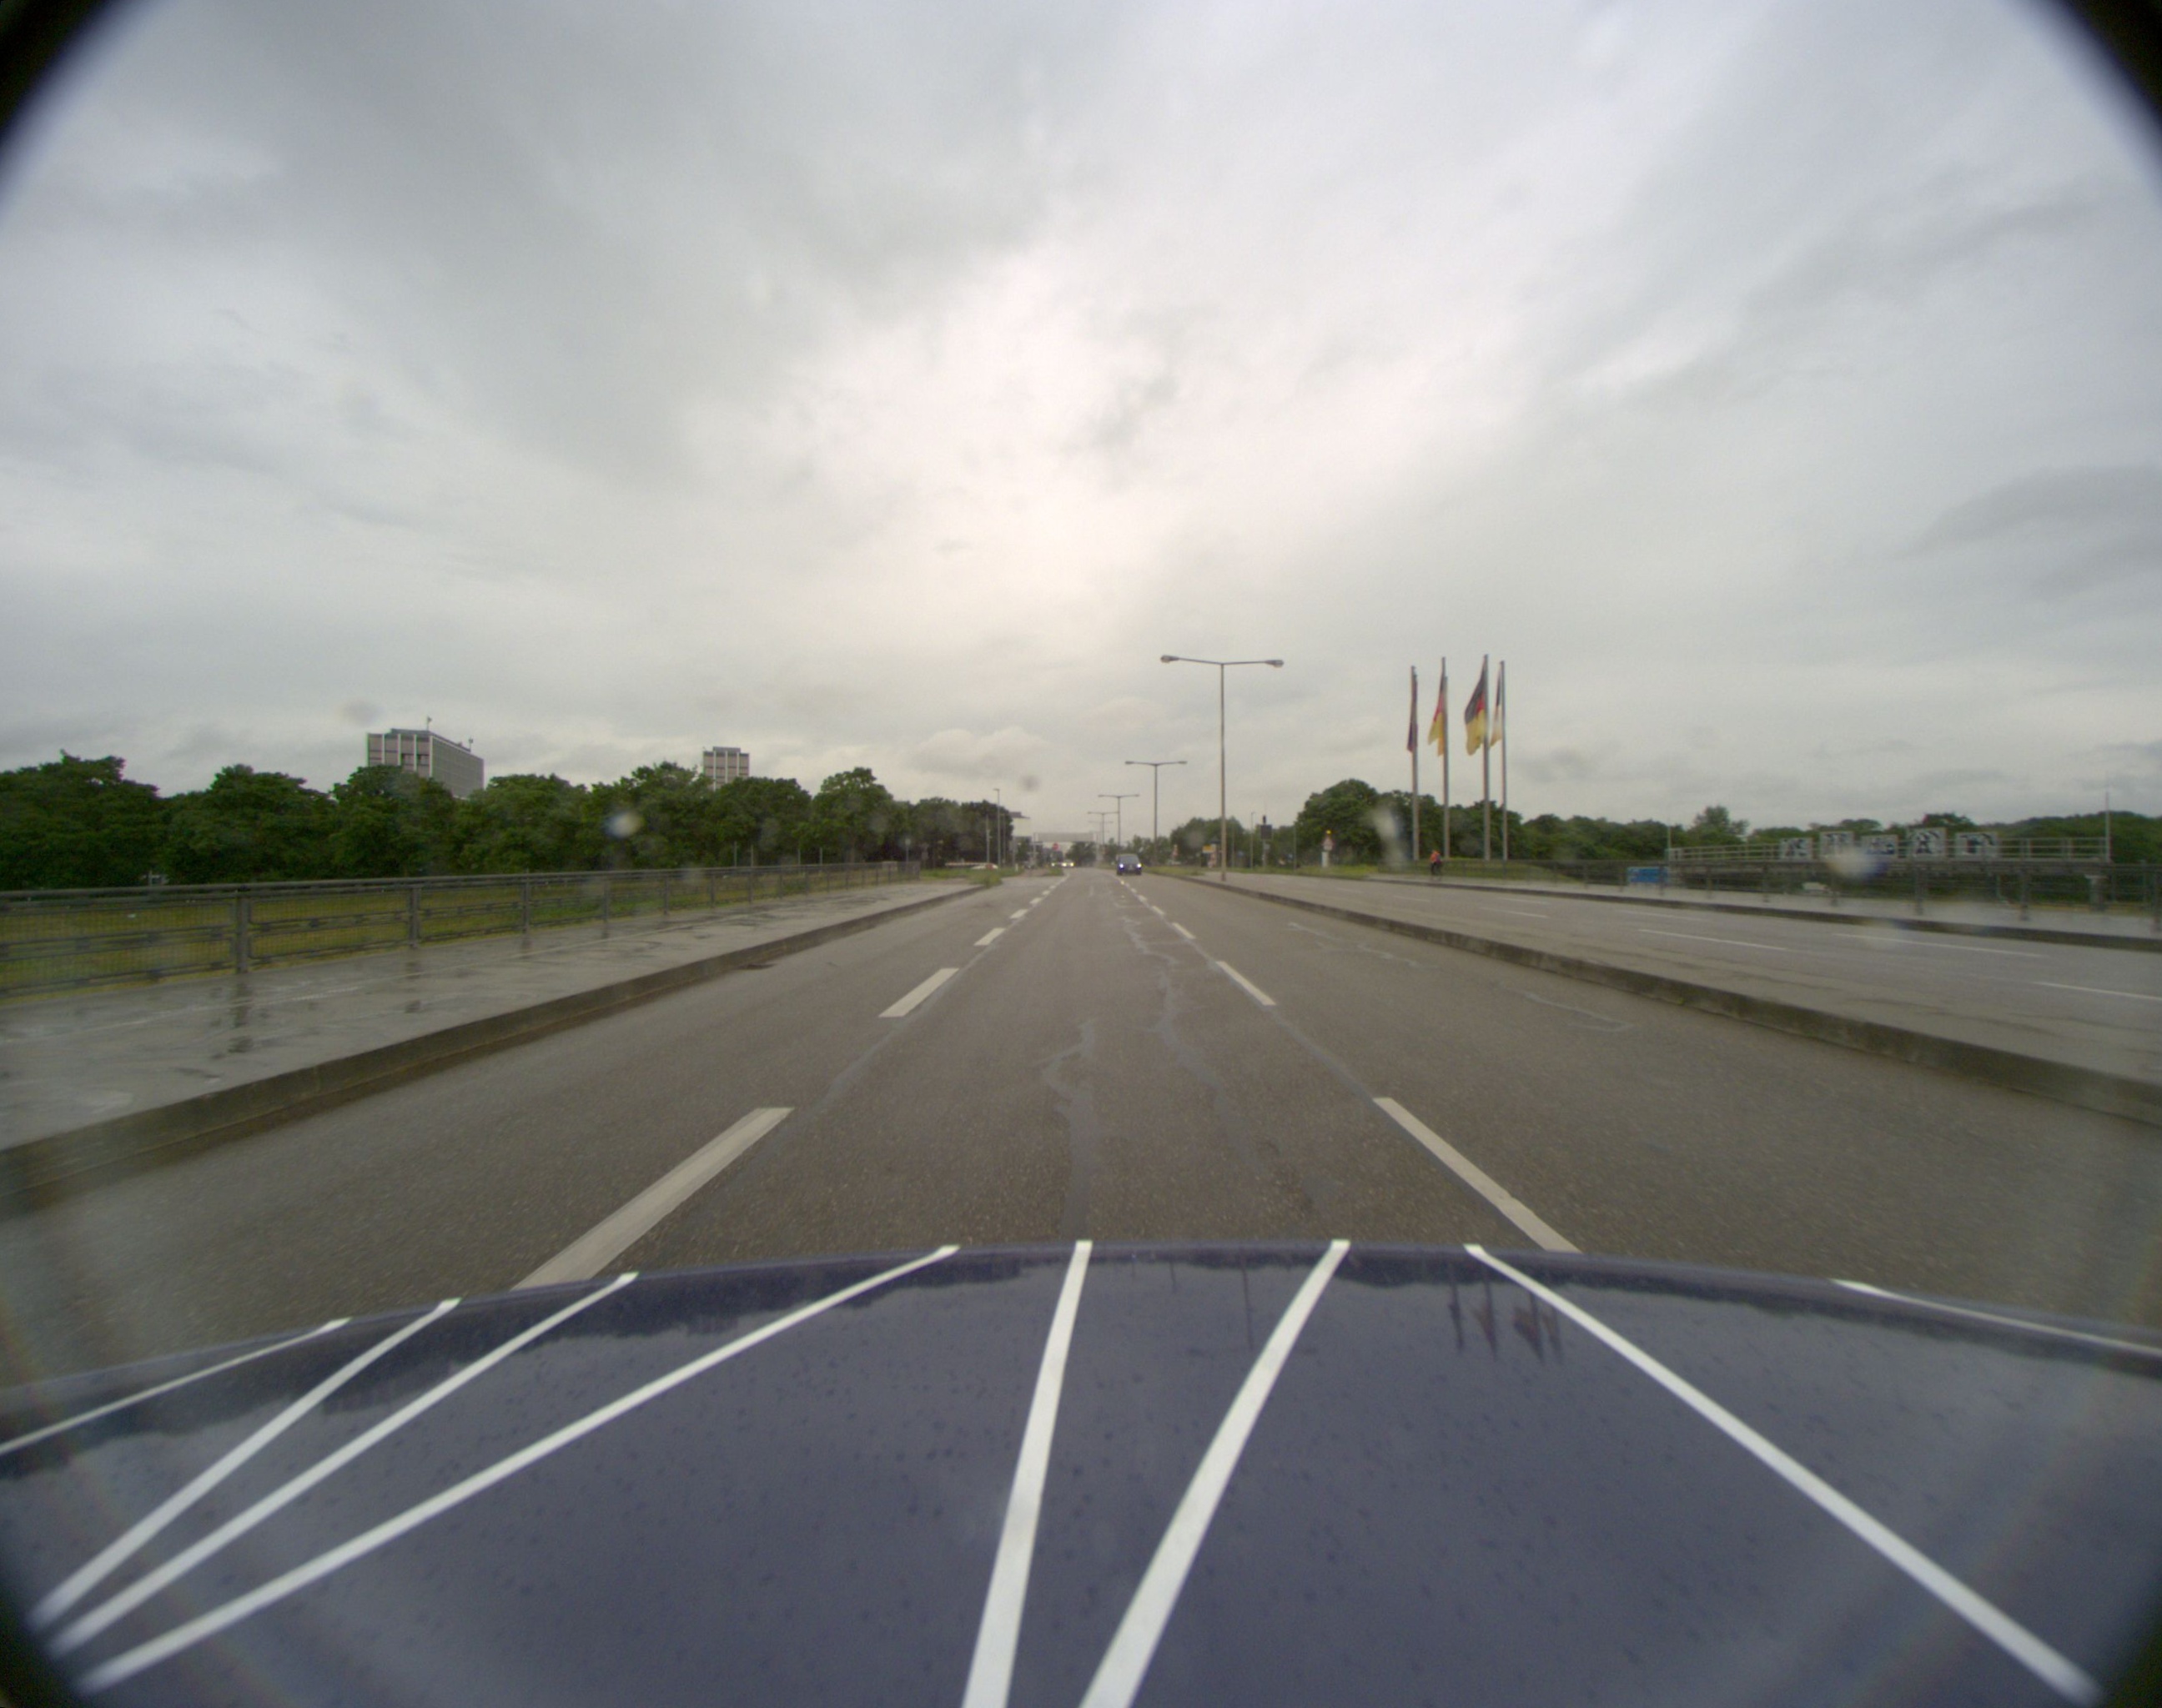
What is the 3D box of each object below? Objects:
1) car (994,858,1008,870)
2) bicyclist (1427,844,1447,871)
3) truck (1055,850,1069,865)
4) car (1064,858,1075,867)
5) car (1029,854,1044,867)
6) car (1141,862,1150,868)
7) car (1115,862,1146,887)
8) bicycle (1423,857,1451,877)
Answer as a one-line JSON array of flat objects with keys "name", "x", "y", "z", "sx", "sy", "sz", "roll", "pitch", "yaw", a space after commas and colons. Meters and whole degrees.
[{"name": "car", "x": -12.152, "y": 1.555, "z": 115.615, "sx": 1.841, "sy": 1.739, "sz": 3.999, "roll": -1, "pitch": 0, "yaw": -1}, {"name": "bicyclist", "x": 20.007, "y": 0.174, "z": 42.720, "sx": 0.621, "sy": 1.491, "sz": 1.003, "roll": -2, "pitch": 1, "yaw": 0}, {"name": "truck", "x": -4.165, "y": 0.664, "z": 164.022, "sx": 2.860, "sy": 3.197, "sz": 8.095, "roll": -1, "pitch": 0, "yaw": -1}, {"name": "car", "x": -2.135, "y": 1.610, "z": 144.250, "sx": 1.999, "sy": 1.701, "sz": 3.999, "roll": -1, "pitch": 1, "yaw": -1}, {"name": "car", "x": -7.521, "y": 1.083, "z": 128.220, "sx": 2.253, "sy": 2.249, "sz": 5.170, "roll": -1, "pitch": 0, "yaw": -1}, {"name": "car", "x": 18.161, "y": 3.036, "z": 214.065, "sx": 1.851, "sy": 1.740, "sz": 4.030, "roll": -1, "pitch": 0, "yaw": -4}, {"name": "car", "x": 4.068, "y": 1.664, "z": 62.685, "sx": 1.851, "sy": 1.740, "sz": 4.815, "roll": -4, "pitch": 1, "yaw": -4}, {"name": "bicycle", "x": 20.026, "y": 0.737, "z": 42.733, "sx": 0.611, "sy": 1.027, "sz": 2.000, "roll": -2, "pitch": 1, "yaw": 0}]
